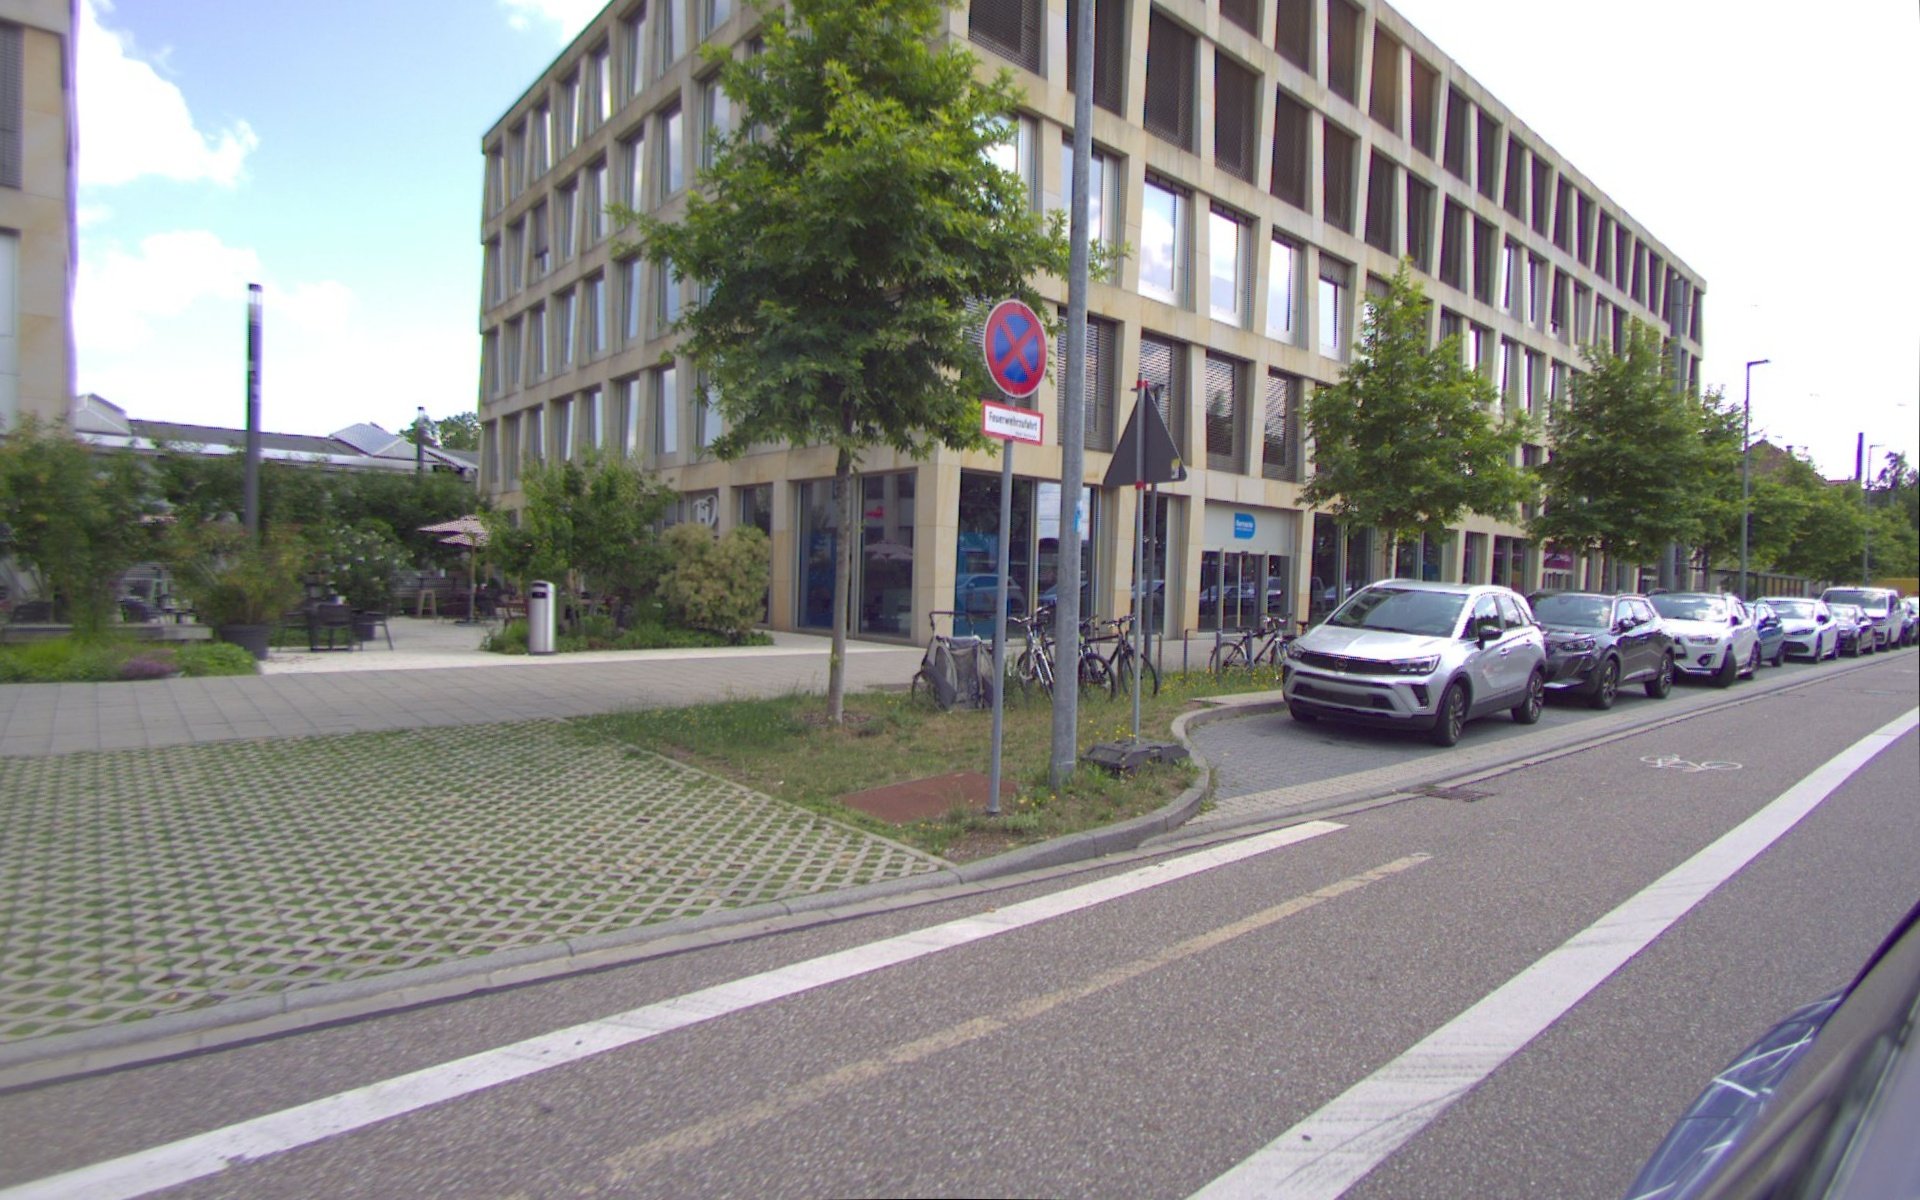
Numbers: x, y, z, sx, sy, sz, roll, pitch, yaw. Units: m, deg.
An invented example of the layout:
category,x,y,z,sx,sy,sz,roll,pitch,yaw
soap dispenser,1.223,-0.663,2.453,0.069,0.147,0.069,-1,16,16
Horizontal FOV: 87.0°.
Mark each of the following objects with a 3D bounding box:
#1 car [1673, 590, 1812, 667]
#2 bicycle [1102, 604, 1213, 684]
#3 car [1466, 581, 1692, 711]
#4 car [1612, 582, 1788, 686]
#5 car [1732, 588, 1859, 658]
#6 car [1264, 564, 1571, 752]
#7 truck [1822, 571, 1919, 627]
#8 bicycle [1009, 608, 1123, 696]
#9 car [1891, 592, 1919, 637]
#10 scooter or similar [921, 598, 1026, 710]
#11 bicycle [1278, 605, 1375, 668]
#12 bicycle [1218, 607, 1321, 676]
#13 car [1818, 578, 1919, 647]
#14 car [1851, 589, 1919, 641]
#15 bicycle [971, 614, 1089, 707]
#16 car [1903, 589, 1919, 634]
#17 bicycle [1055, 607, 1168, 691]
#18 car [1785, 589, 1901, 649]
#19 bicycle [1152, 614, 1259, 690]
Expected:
category,x,y,z,sx,sy,sz,roll,pitch,yaw
car,17.367,0.562,22.396,3.882,1.475,1.689,0,3,-41
bicycle,2.631,0.565,13.575,0.496,0.928,1.500,-3,4,-38
car,9.052,0.565,14.694,3.858,1.567,1.689,0,3,-41
car,13.562,0.534,18.468,4.080,1.625,1.689,0,3,-41
car,21.057,0.523,25.460,4.086,1.548,1.796,0,3,-41
car,5.199,0.499,11.273,3.923,1.653,1.688,0,4,-43
truck,50.992,-0.069,54.404,2.413,2.902,6.815,0,2,-43
bicycle,1.284,0.609,12.482,0.496,0.928,1.500,-3,4,-38
car,37.486,0.552,39.185,3.793,1.640,1.724,0,2,-41
scooter or similar,0.149,0.589,11.640,0.706,1.190,1.054,0,1,-37
bicycle,6.109,0.585,16.918,0.496,0.928,1.500,-3,4,-38
bicycle,4.743,0.614,15.561,0.496,0.928,1.500,-3,4,-38
car,29.113,0.341,32.298,4.759,1.963,1.885,0,3,-41
car,32.914,0.479,35.615,4.449,1.660,1.724,0,3,-41
bicycle,0.798,0.675,11.842,0.496,0.928,1.500,-3,4,-38
car,41.019,0.476,42.386,4.756,1.789,1.772,0,2,-41
bicycle,1.926,0.593,12.989,0.496,0.928,1.500,-3,4,-38
car,25.195,0.489,28.827,4.484,1.505,1.885,0,3,-41
bicycle,3.491,0.718,14.465,0.496,0.928,1.500,-3,4,-38
